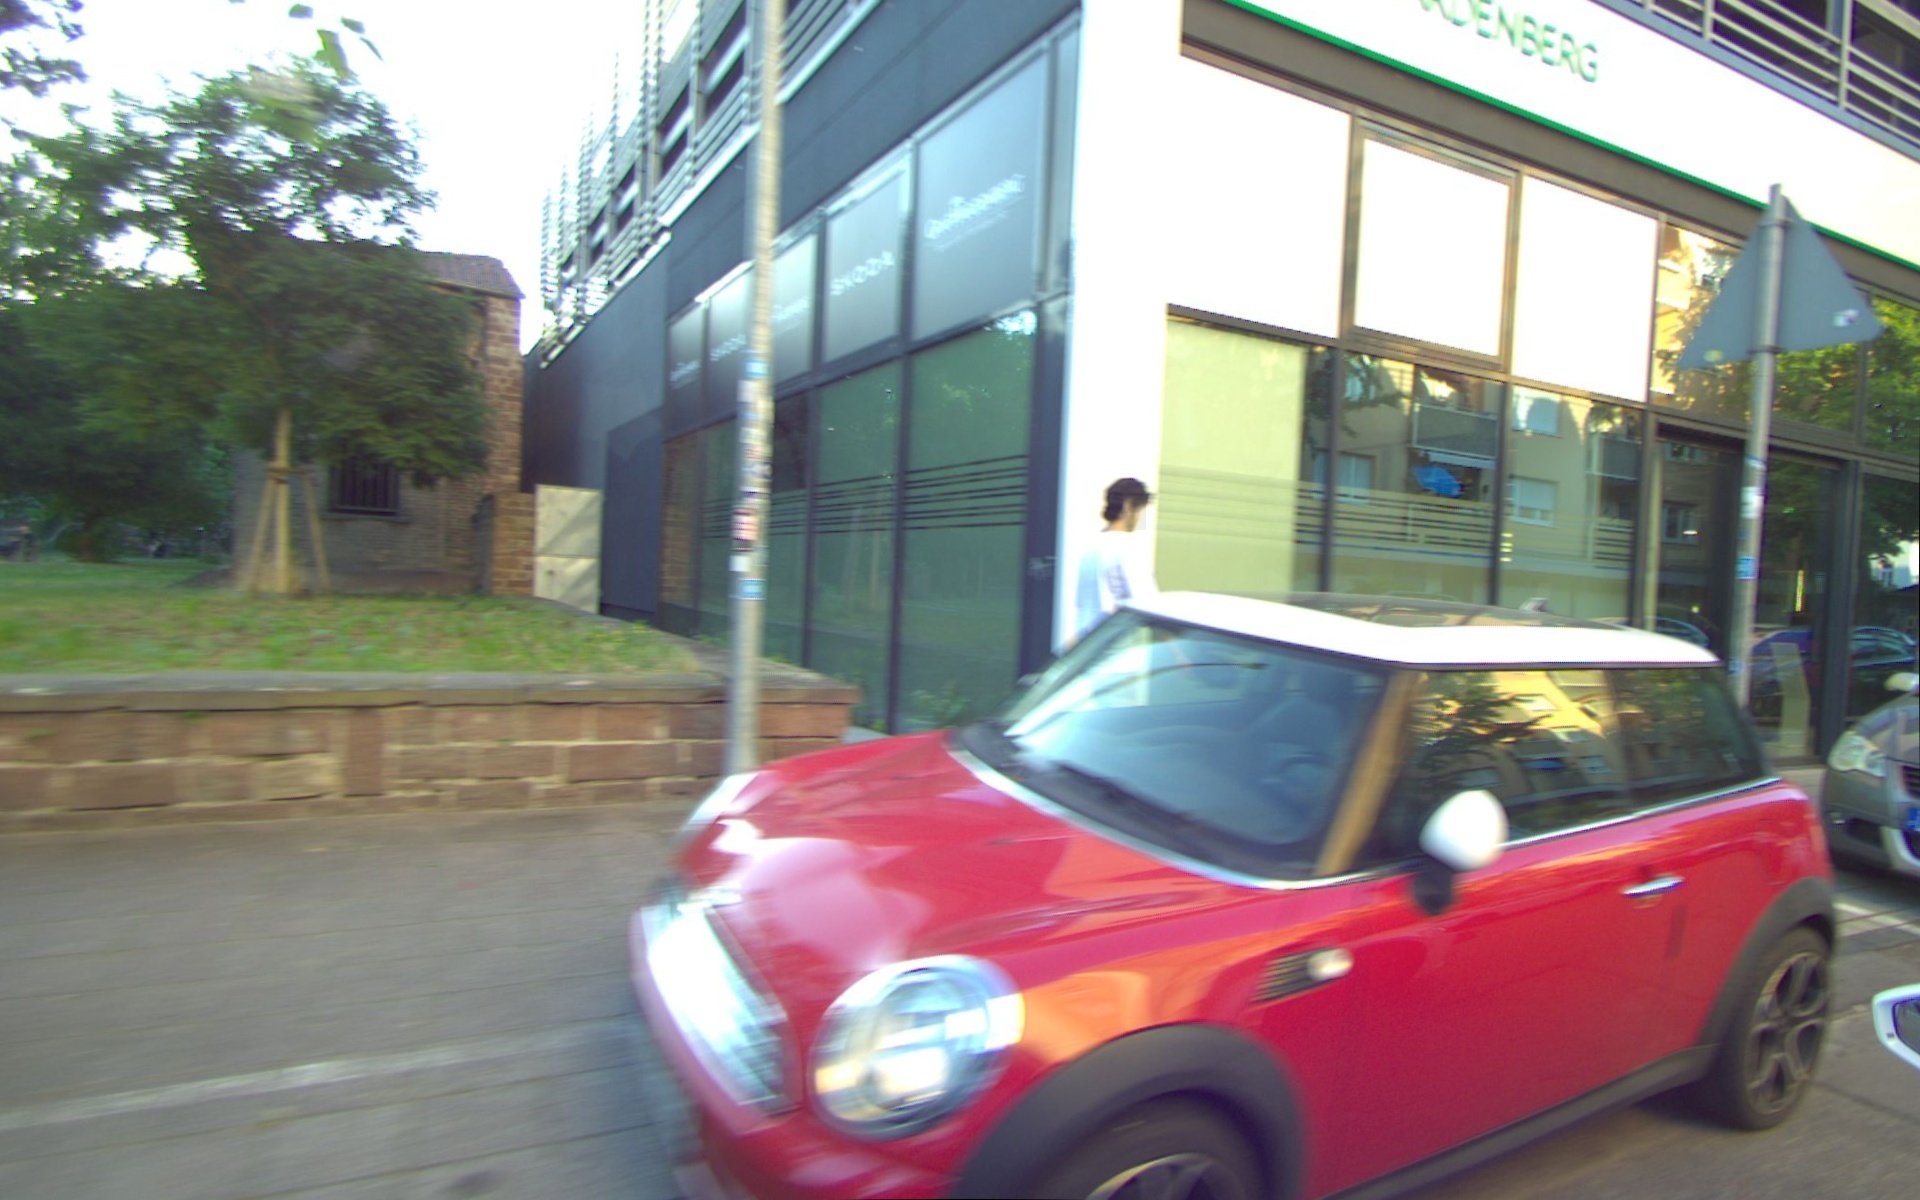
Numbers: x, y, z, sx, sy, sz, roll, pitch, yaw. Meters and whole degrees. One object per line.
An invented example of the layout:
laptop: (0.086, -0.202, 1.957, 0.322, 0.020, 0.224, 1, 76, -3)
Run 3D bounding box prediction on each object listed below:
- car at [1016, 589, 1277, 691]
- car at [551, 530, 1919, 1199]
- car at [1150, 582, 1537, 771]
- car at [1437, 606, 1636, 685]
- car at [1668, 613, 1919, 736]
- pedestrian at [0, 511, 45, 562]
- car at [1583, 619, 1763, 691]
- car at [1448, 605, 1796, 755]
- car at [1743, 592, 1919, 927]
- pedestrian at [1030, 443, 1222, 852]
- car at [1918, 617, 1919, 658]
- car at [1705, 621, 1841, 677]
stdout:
car: (3.024, 0.627, 16.213, 3.869, 1.453, 1.691, 2, 1, -26)
car: (0.993, 0.675, 2.961, 3.880, 1.430, 1.654, 2, 6, -30)
car: (4.054, 0.730, 10.556, 3.826, 1.672, 1.587, 2, 1, -27)
car: (12.040, 0.944, 20.960, 3.869, 1.453, 1.691, 2, 1, -26)
car: (12.541, 1.050, 14.828, 3.941, 1.535, 1.692, 2, 1, -26)
pedestrian: (-28.204, -1.881, 29.727, 1.262, 1.445, 1.232, 1, 1, -20)
car: (16.336, 1.246, 23.004, 3.869, 1.453, 1.691, 2, 1, -26)
car: (8.174, 0.921, 12.369, 4.137, 1.535, 1.691, 2, 1, -27)
car: (6.385, 0.879, 5.470, 3.832, 1.517, 1.656, 2, 6, -25)
pedestrian: (0.824, 0.220, 5.114, 0.612, 1.903, 0.719, 1, 2, -25)
car: (29.738, 1.098, 29.320, 3.479, 1.272, 1.415, 1, 1, -26)
car: (20.576, 1.229, 25.421, 3.171, 1.272, 1.415, 1, 1, -26)
